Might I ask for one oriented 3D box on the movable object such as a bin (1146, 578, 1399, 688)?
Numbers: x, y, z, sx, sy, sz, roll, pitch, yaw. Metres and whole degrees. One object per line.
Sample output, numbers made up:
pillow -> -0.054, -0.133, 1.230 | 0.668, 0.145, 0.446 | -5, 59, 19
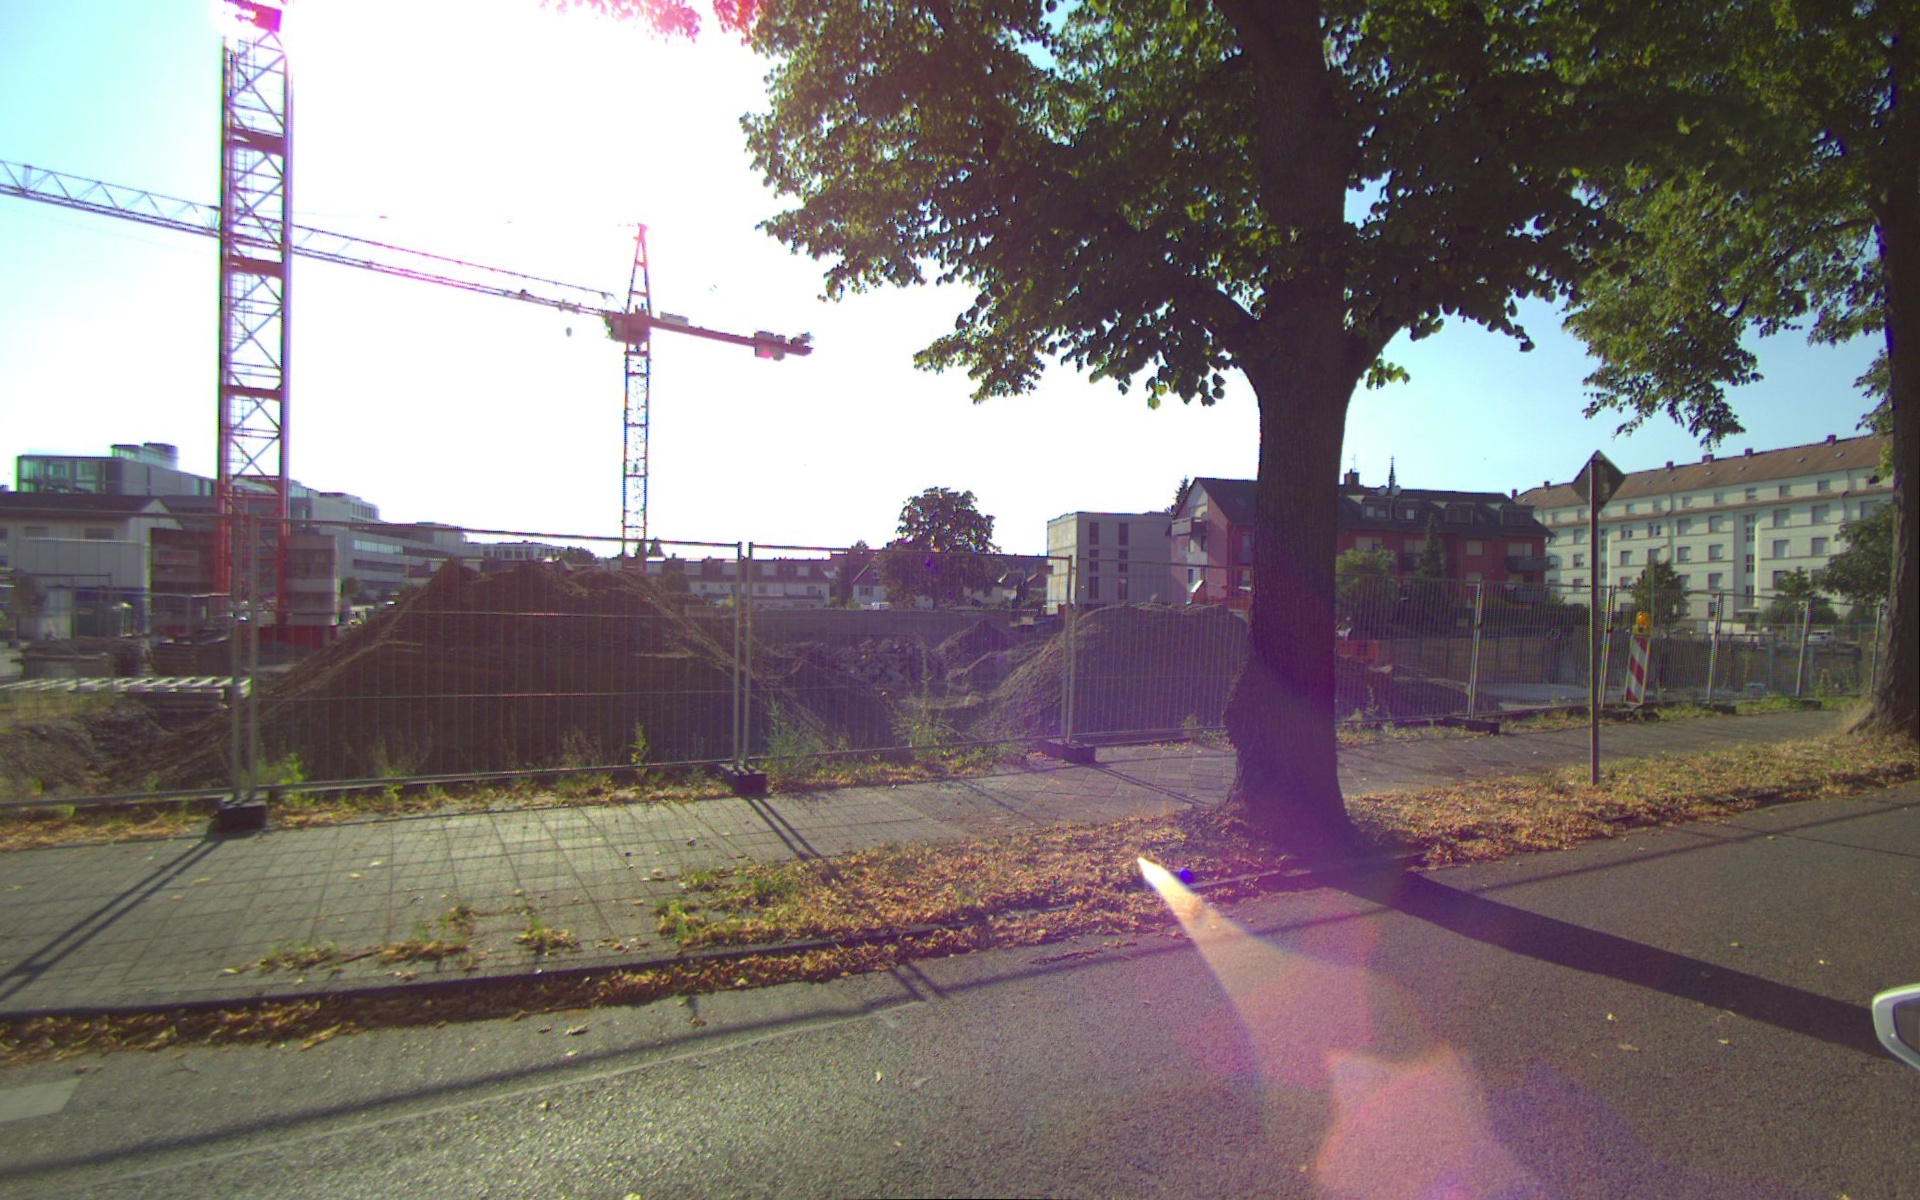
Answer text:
movable object such as a bin -> 14.916, 1.607, 48.331 | 11.347, 5.058, 3.017 | 0, -3, -8
